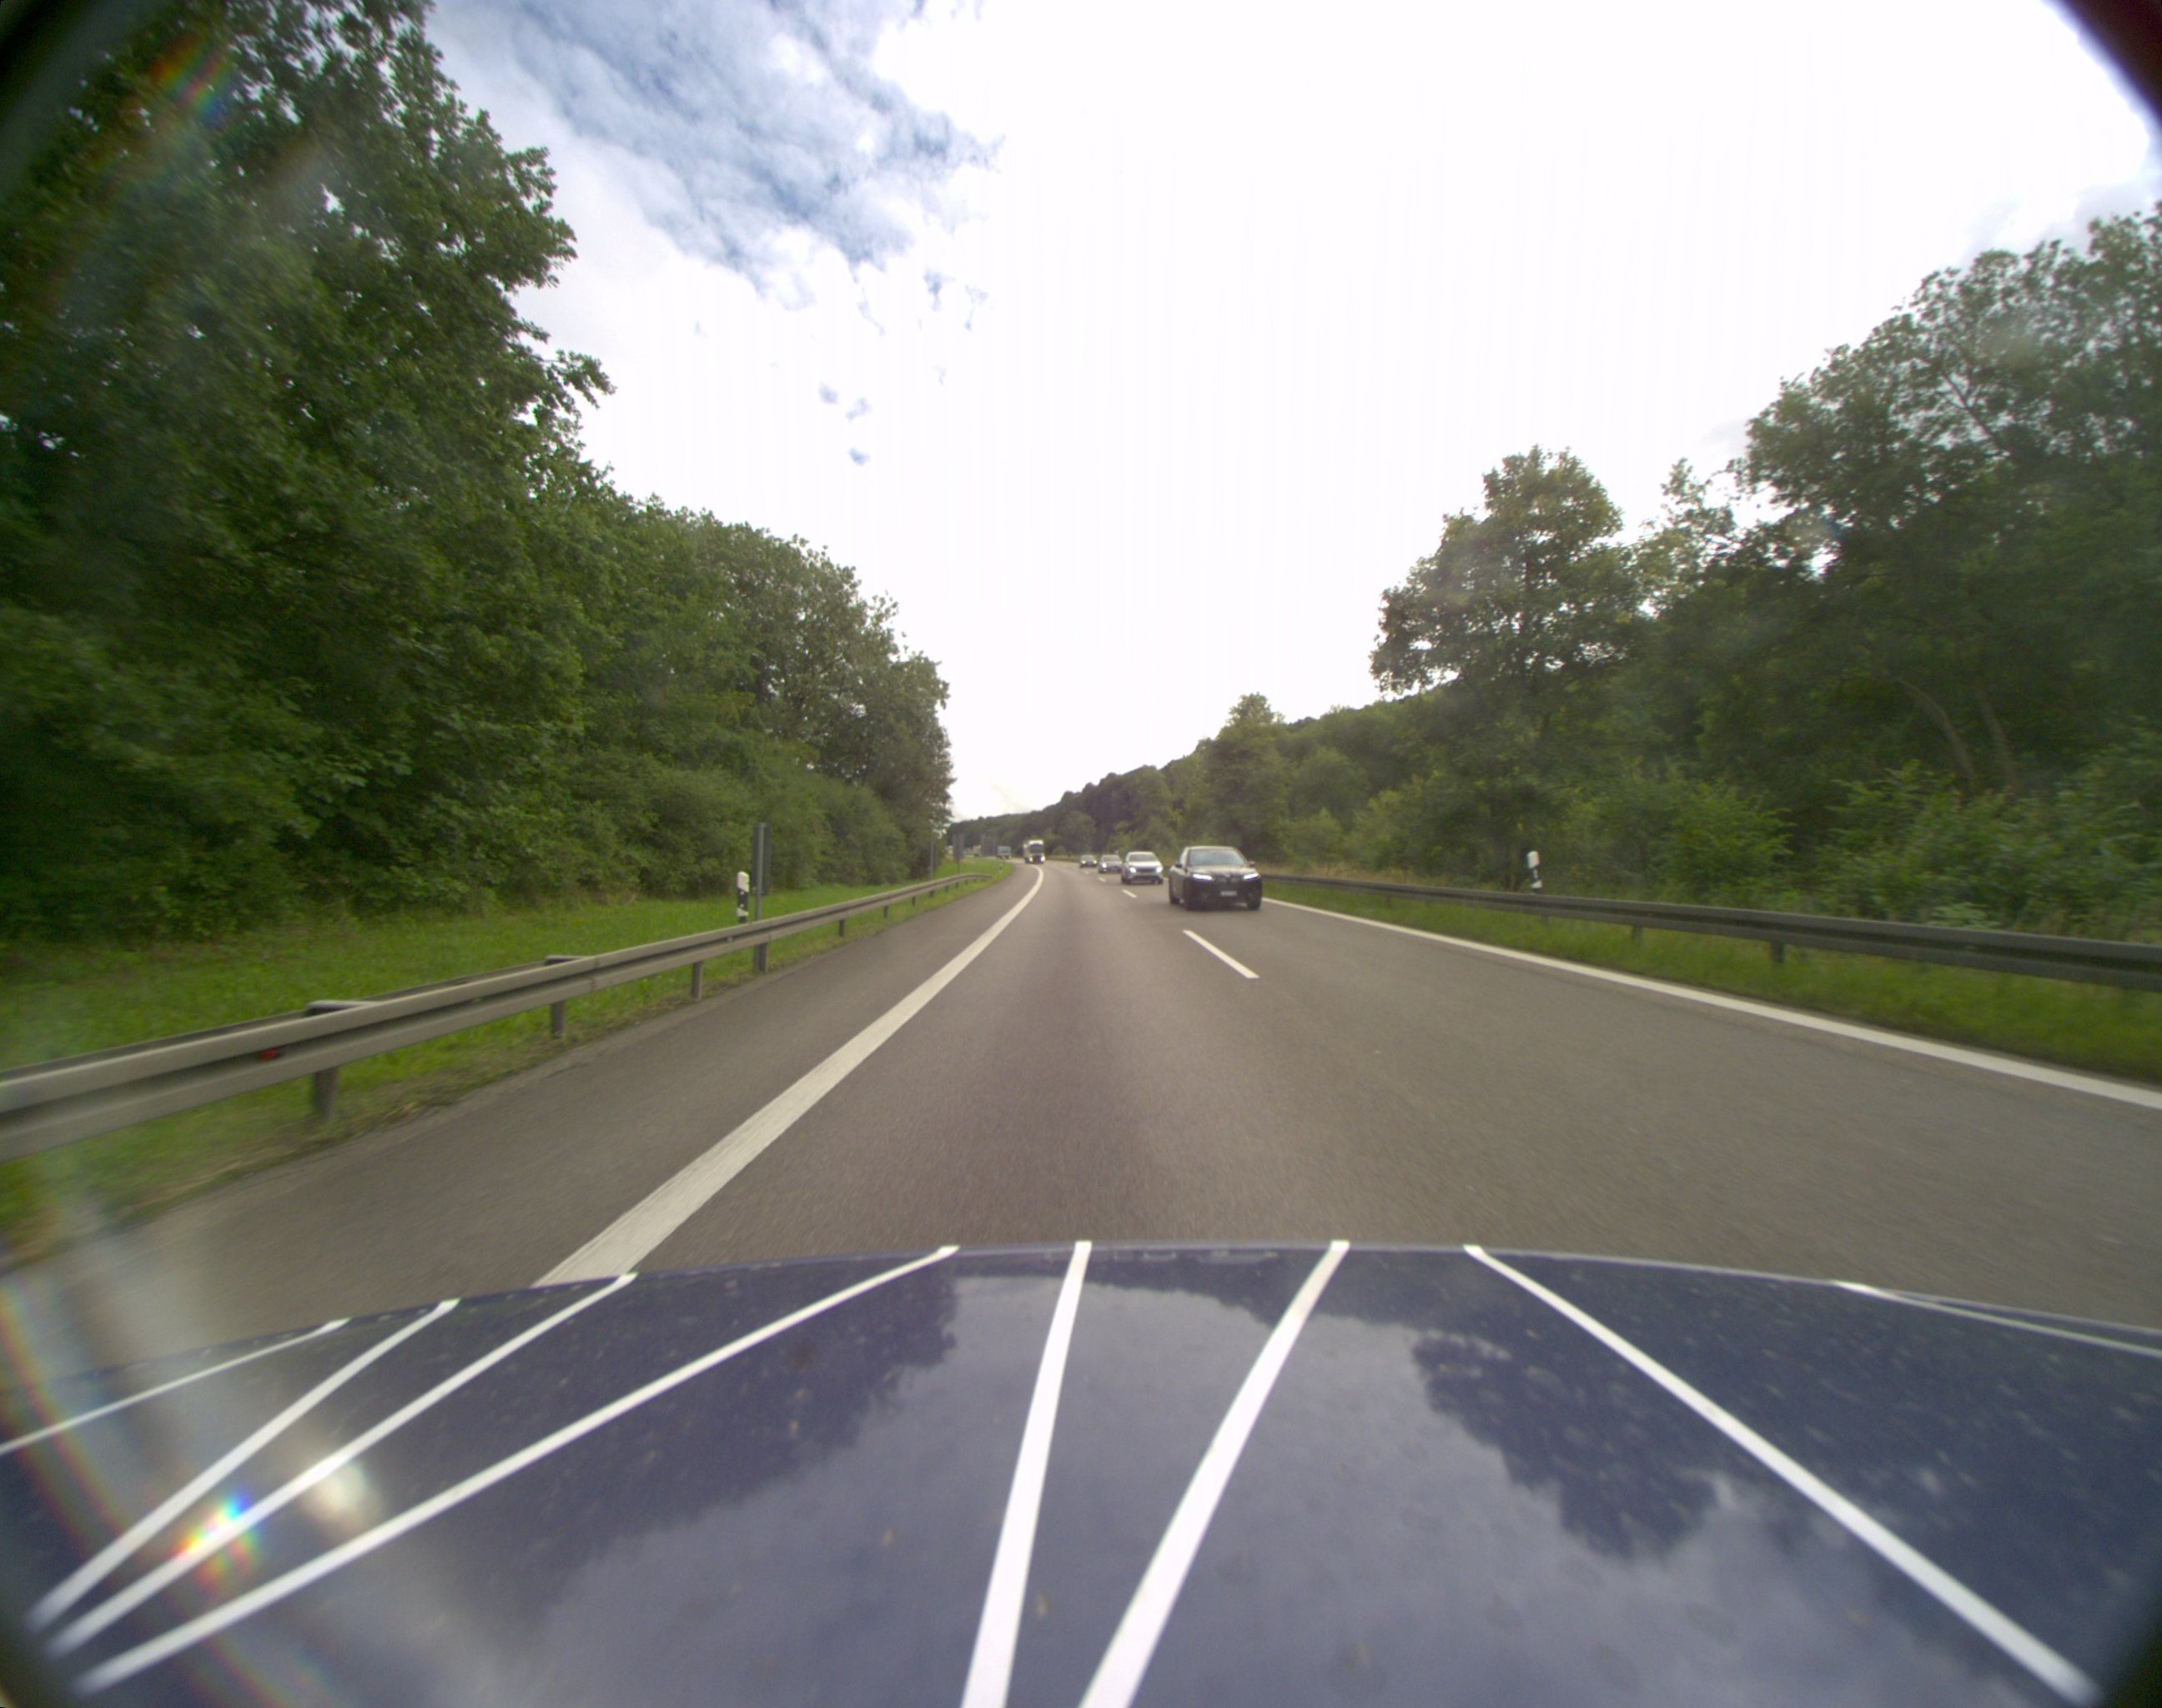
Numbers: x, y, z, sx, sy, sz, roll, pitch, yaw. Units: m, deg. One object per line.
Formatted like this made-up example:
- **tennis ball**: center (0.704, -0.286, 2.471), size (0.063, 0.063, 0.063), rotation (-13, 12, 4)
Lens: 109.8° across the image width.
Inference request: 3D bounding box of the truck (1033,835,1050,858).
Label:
- **truck**: center (-6.772, -1.302, 130.650), size (2.796, 3.949, 5.938), rotation (-1, 1, -2)

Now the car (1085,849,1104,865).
- **car**: center (1.503, 0.318, 85.476), size (1.999, 1.656, 4.413), rotation (0, 2, -1)

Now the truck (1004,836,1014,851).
- **truck**: center (-20.076, -2.871, 211.941), size (2.796, 3.949, 5.937), rotation (-1, 1, -4)

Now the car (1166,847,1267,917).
- **car**: center (3.652, 0.689, 21.244), size (1.998, 1.656, 4.414), rotation (-2, 1, 0)

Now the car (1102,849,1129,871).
- **car**: center (2.758, 0.476, 62.133), size (1.999, 1.656, 4.414), rotation (-1, 1, 0)

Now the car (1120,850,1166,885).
- **car**: center (3.190, 0.669, 39.773), size (1.999, 1.656, 4.414), rotation (-1, 1, 0)

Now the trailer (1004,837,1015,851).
- **trailer**: center (-20.522, -2.955, 218.073), size (2.788, 3.932, 11.290), rotation (-1, 1, -4)
